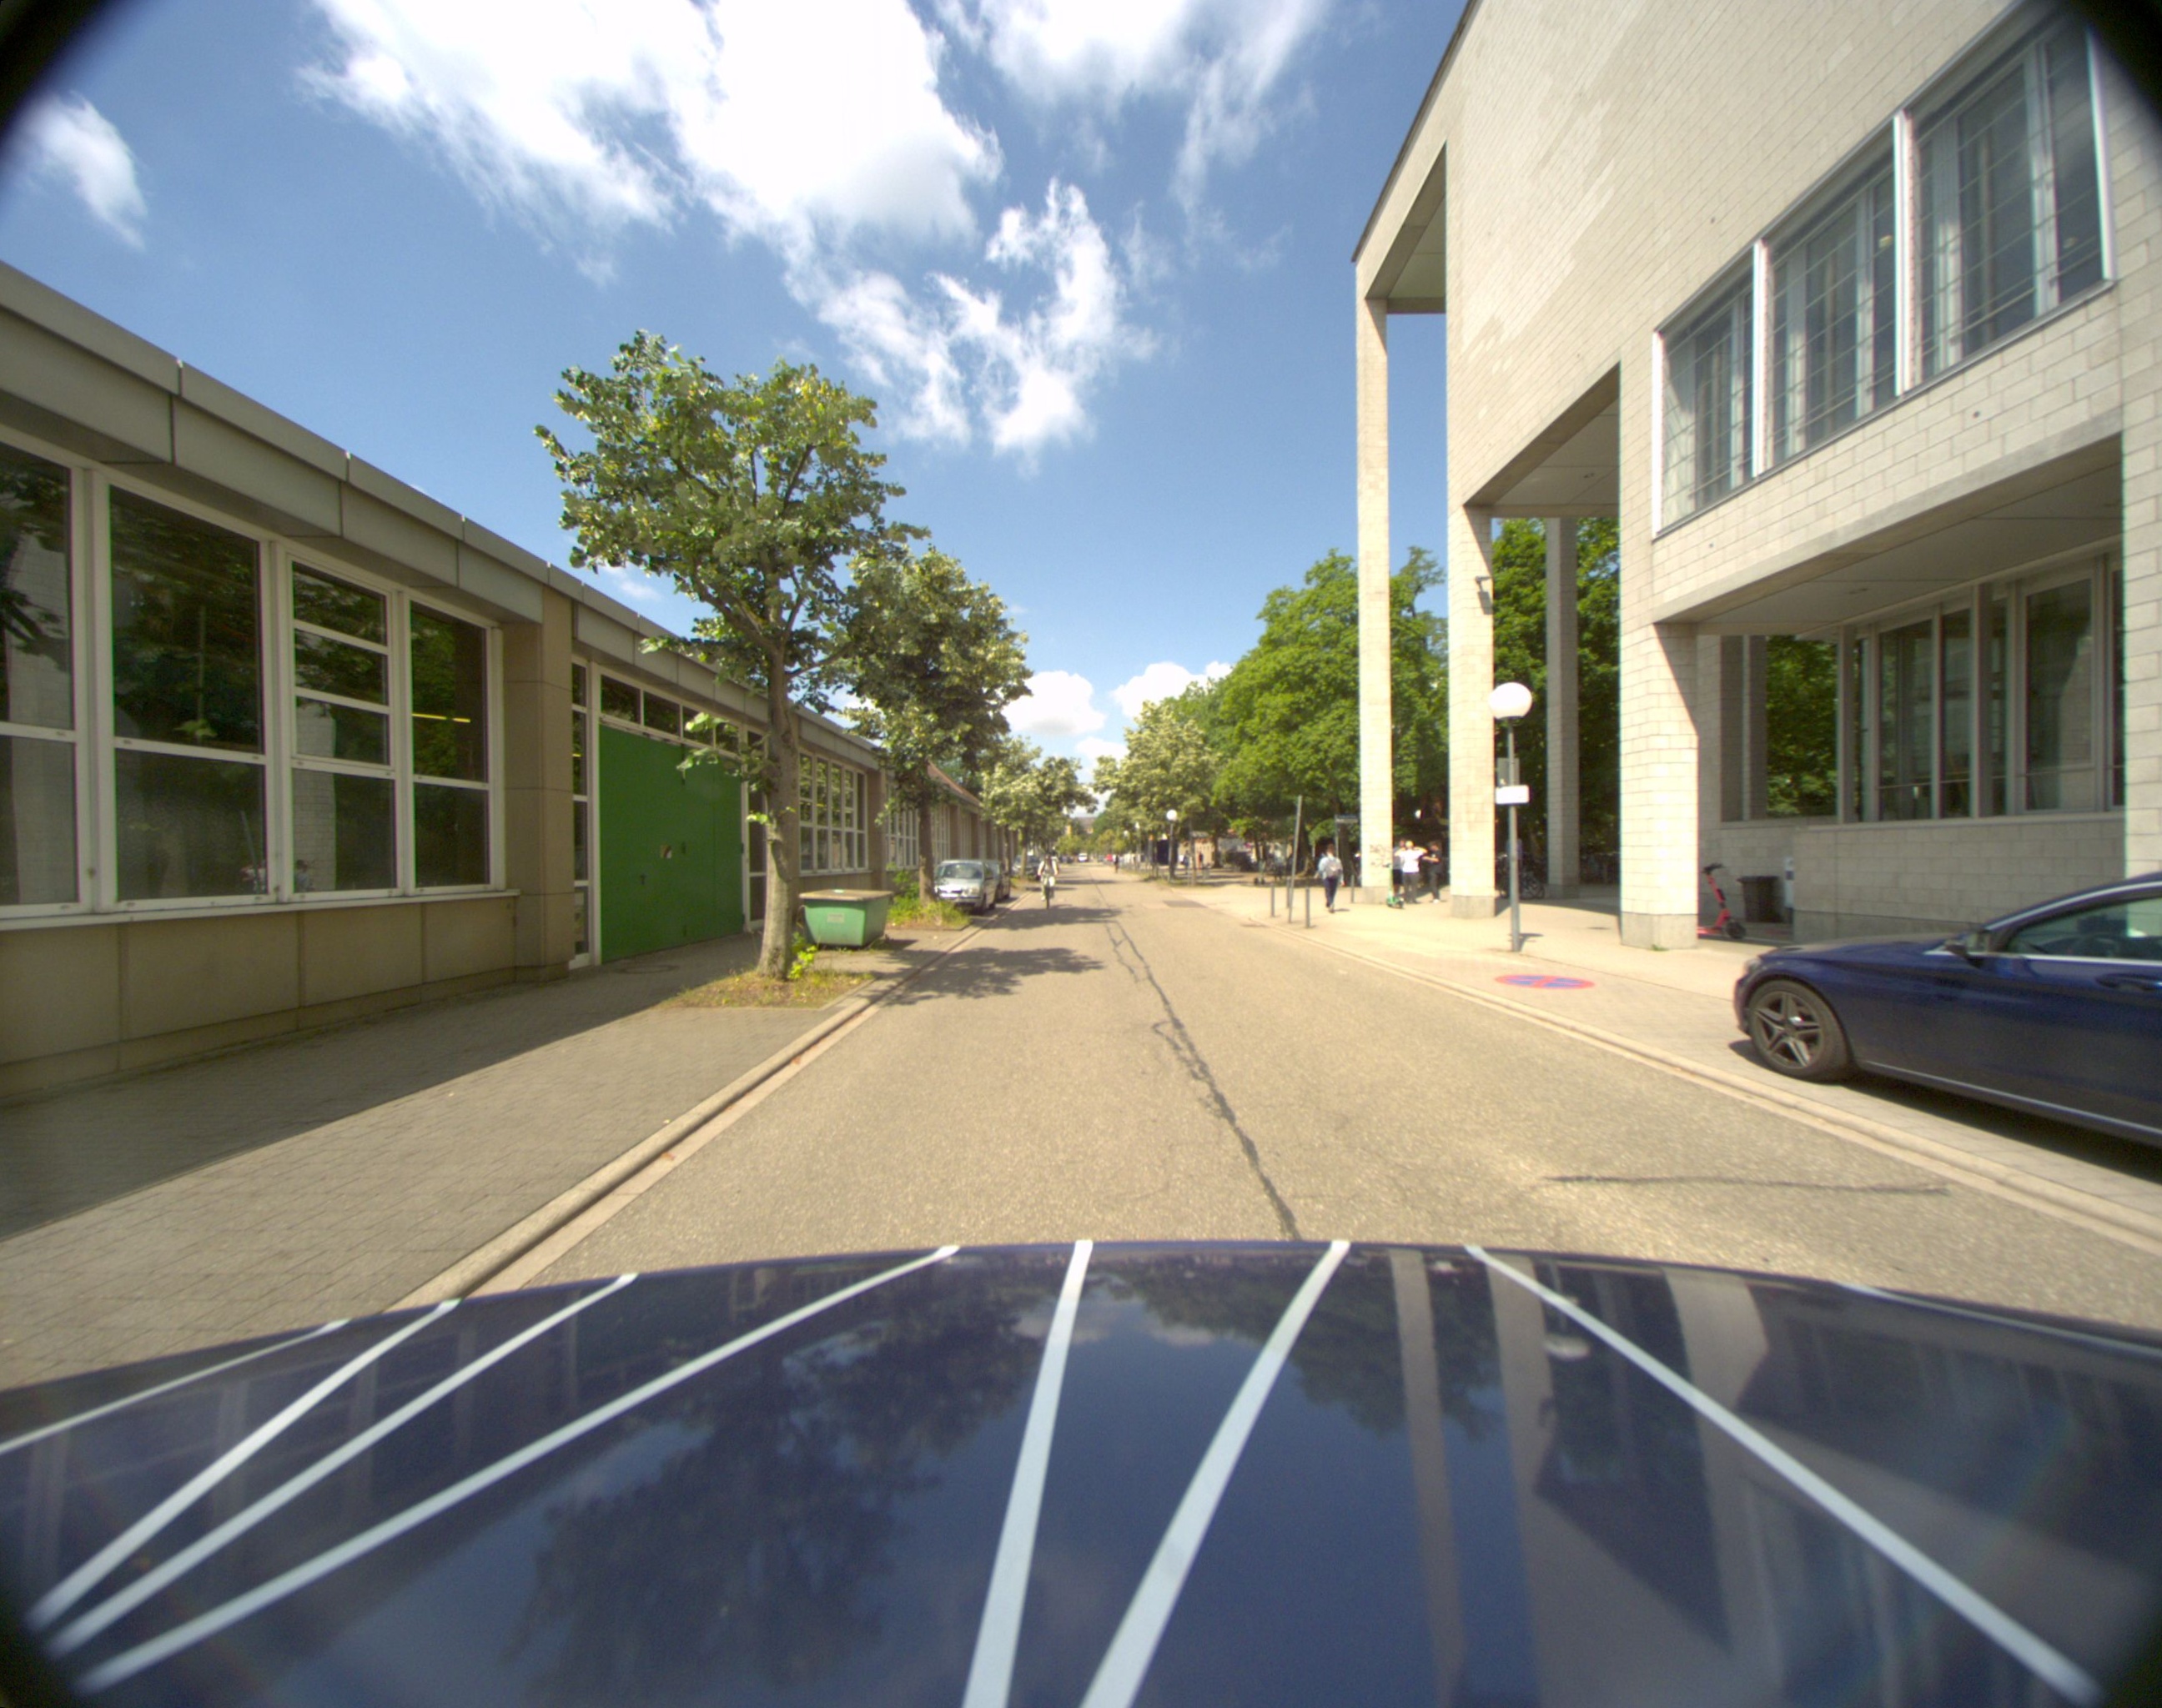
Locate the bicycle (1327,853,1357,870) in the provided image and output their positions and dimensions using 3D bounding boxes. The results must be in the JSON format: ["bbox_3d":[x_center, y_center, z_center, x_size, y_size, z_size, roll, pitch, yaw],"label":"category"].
[{"bbox_3d":[18.035,0.509,52.505,2.127,1.052,0.681,-2,1,-30],"label":"bicycle"}]

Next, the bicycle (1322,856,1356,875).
[{"bbox_3d":[16.209,0.694,47.754,2.127,1.100,0.751,-2,1,-30],"label":"bicycle"}]

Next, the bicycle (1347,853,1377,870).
[{"bbox_3d":[18.808,0.506,50.900,2.127,1.052,0.681,-2,1,-30],"label":"bicycle"}]

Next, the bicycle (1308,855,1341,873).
[{"bbox_3d":[15.645,0.653,48.843,2.127,1.100,0.751,-2,1,-30],"label":"bicycle"}]

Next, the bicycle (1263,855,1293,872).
[{"bbox_3d":[13.642,0.675,52.611,2.127,1.100,0.681,-2,1,-30],"label":"bicycle"}]

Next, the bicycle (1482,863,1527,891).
[{"bbox_3d":[16.922,0.904,30.414,0.622,1.052,2.124,-1,1,-1],"label":"bicycle"}]

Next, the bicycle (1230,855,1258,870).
[{"bbox_3d":[12.031,0.629,56.165,2.127,1.052,0.621,-2,1,-30],"label":"bicycle"}]

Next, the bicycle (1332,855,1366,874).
[{"bbox_3d":[16.609,0.662,47.002,2.127,1.100,0.751,-2,1,-30],"label":"bicycle"}]

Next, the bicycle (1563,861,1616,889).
[{"bbox_3d":[20.284,0.826,30.360,0.622,1.052,2.174,-1,1,-1],"label":"bicycle"}]

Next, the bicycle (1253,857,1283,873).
[{"bbox_3d":[13.160,0.778,53.490,2.127,1.052,0.681,-2,1,-30],"label":"bicycle"}]

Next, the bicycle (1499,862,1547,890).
[{"bbox_3d":[17.628,0.863,30.345,0.622,1.052,2.174,-1,1,-1],"label":"bicycle"}]

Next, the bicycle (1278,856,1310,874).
[{"bbox_3d":[14.399,0.707,51.306,2.127,1.151,0.751,-2,1,-30],"label":"bicycle"}]

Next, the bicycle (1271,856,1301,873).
[{"bbox_3d":[14.026,0.686,51.967,2.127,1.100,0.681,-2,1,-30],"label":"bicycle"}]

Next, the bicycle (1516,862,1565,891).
[{"bbox_3d":[18.296,0.871,30.322,0.622,1.052,2.174,-1,1,-1],"label":"bicycle"}]

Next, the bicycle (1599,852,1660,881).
[{"bbox_3d":[25.264,0.567,35.038,0.623,1.325,2.169,-2,1,-35],"label":"bicycle"}]

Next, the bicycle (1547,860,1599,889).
[{"bbox_3d":[19.616,0.807,30.351,0.622,1.052,2.174,-1,1,-1],"label":"bicycle"}]

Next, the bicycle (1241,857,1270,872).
[{"bbox_3d":[12.595,0.761,54.955,2.127,1.052,0.681,-2,1,-30],"label":"bicycle"}]

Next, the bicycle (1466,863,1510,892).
[{"bbox_3d":[16.245,0.912,30.385,0.622,1.052,2.124,-1,1,-1],"label":"bicycle"}]

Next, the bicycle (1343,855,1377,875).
[{"bbox_3d":[17.004,0.660,46.327,2.127,1.100,0.751,-2,1,-30],"label":"bicycle"}]

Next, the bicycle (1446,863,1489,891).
[{"bbox_3d":[15.569,0.913,30.647,0.622,1.052,2.124,-1,1,-1],"label":"bicycle"}]

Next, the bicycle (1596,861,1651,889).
[{"bbox_3d":[21.644,0.818,30.380,0.622,1.052,2.174,-1,1,-1],"label":"bicycle"}]

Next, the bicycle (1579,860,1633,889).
[{"bbox_3d":[20.960,0.794,30.374,0.622,1.052,2.174,-1,1,-1],"label":"bicycle"}]

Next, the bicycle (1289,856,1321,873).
[{"bbox_3d":[14.853,0.680,50.457,2.127,1.100,0.751,-2,1,-30],"label":"bicycle"}]

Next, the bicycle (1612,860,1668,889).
[{"bbox_3d":[22.315,0.802,30.390,0.622,1.052,2.174,-1,1,-1],"label":"bicycle"}]

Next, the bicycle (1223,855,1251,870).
[{"bbox_3d":[11.690,0.632,56.822,2.127,1.052,0.621,-2,1,-30],"label":"bicycle"}]

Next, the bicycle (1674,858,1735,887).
[{"bbox_3d":[24.980,0.719,30.497,0.622,1.052,2.174,-1,1,-1],"label":"bicycle"}]

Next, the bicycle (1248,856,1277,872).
[{"bbox_3d":[12.984,0.728,54.320,2.127,1.052,0.681,-2,1,-30],"label":"bicycle"}]

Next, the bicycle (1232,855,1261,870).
[{"bbox_3d":[12.085,0.634,55.463,2.127,1.052,0.621,-2,1,-30],"label":"bicycle"}]

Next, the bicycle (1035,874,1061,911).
[{"bbox_3d":[-1.017,1.193,23.912,0.781,1.042,1.912,0,0,-2],"label":"bicycle"}]

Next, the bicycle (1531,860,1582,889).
[{"bbox_3d":[18.960,0.805,30.342,0.622,1.052,2.174,-1,1,-1],"label":"bicycle"}]

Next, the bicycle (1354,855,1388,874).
[{"bbox_3d":[17.422,0.628,45.626,2.127,1.100,0.751,-2,1,-30],"label":"bicycle"}]
